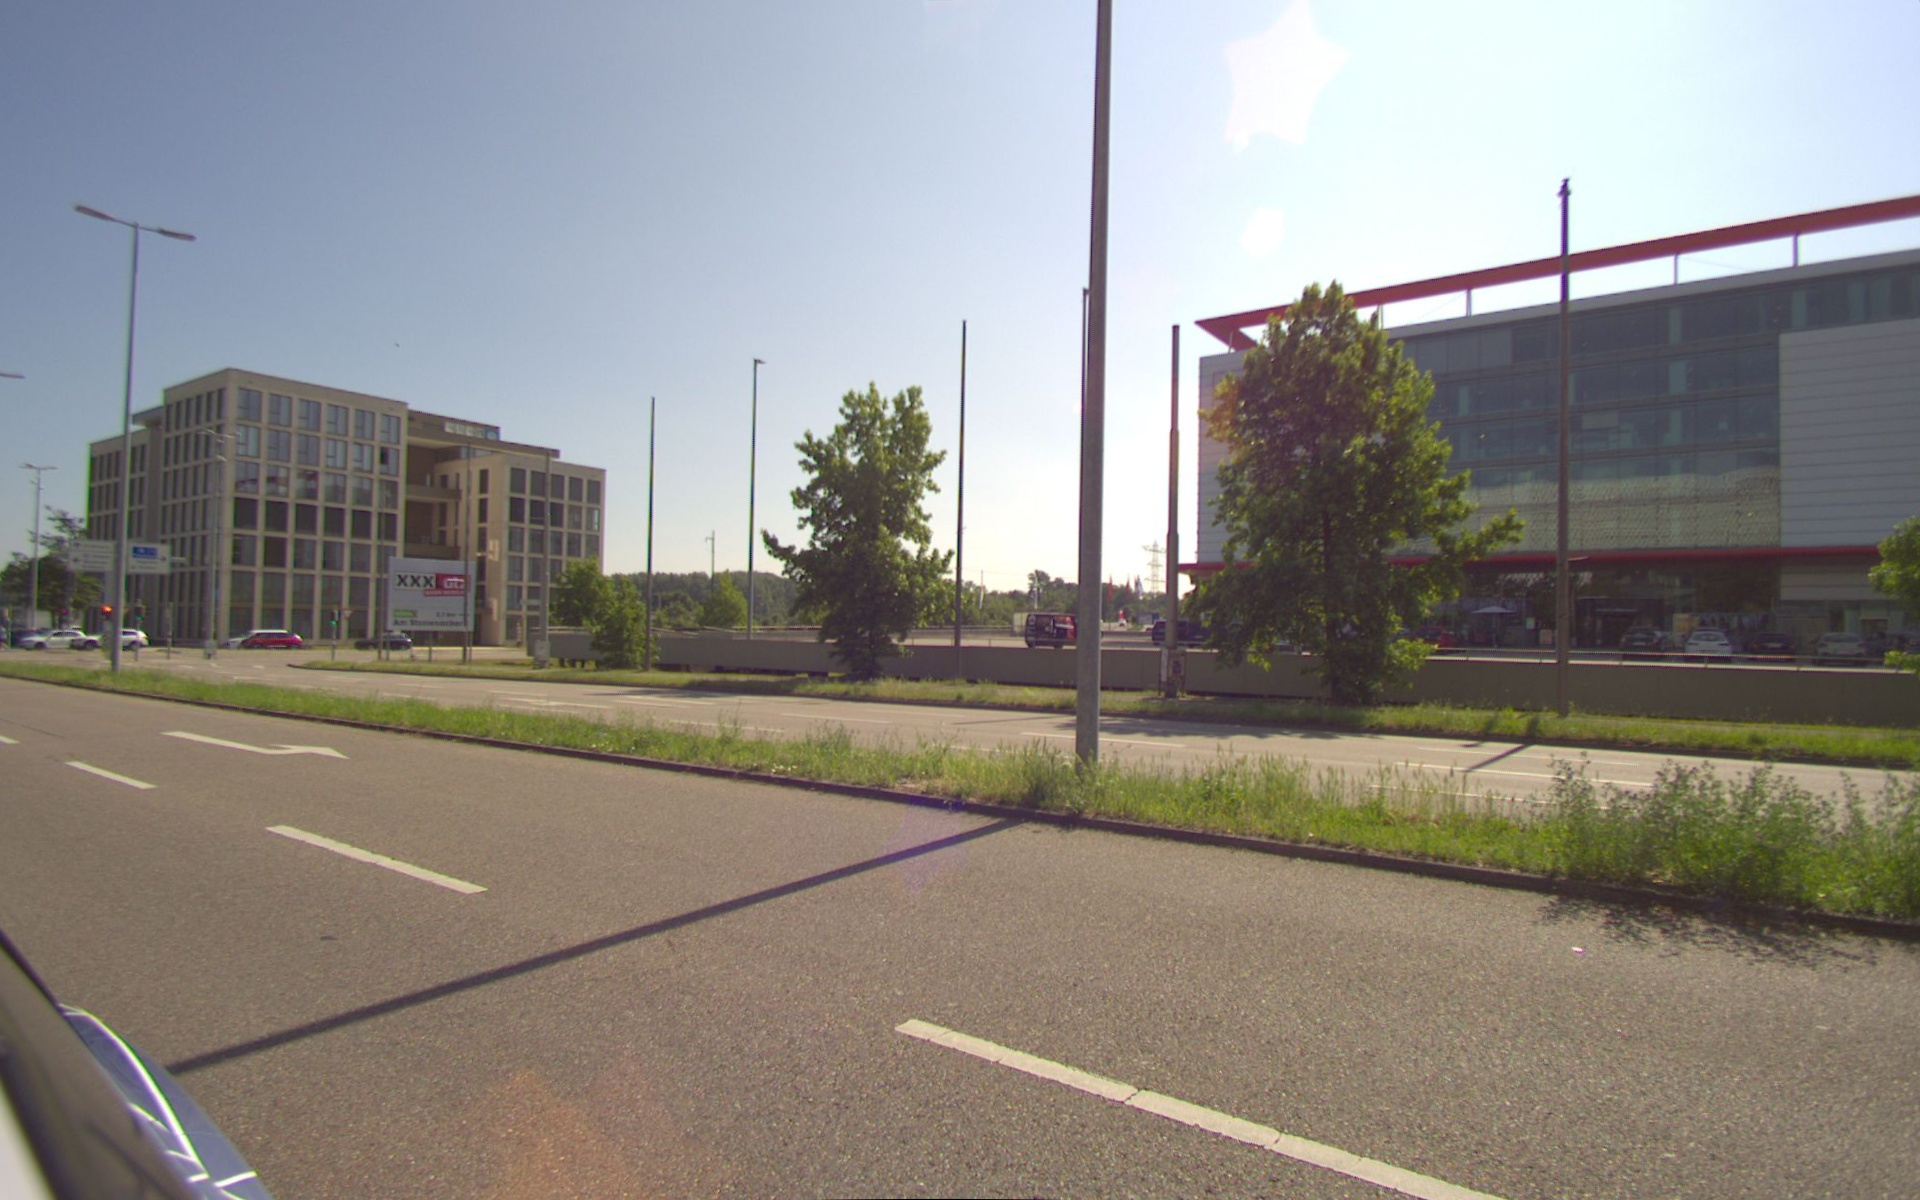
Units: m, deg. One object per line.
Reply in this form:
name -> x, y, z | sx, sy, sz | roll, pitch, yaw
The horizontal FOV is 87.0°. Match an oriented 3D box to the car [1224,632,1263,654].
car -> 18.351, 2.775, 65.430 | 1.512, 1.340, 3.061 | 0, -2, 35

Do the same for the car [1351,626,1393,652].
car -> 22.905, 2.169, 56.164 | 1.512, 1.340, 3.186 | 0, -2, 35

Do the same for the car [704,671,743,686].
car -> -13.347, 4.411, 57.101 | 0.904, 0.739, 2.064 | 0, -2, 33

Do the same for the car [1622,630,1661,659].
car -> 32.875, 2.141, 48.786 | 1.512, 1.340, 3.061 | 0, -2, 35

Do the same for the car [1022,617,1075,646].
car -> 4.849, 1.746, 55.409 | 1.770, 1.568, 2.743 | -2, -4, 35

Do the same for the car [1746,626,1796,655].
car -> 39.485, 1.978, 49.319 | 1.626, 1.340, 3.634 | 0, -2, 35

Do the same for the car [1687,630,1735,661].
car -> 34.824, 2.089, 46.986 | 1.700, 1.340, 3.061 | 0, -2, 35

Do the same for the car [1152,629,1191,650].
car -> 14.310, 2.663, 68.462 | 1.512, 1.340, 2.985 | 0, -2, 35

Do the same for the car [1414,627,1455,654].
car -> 25.562, 2.177, 54.474 | 1.512, 1.340, 3.186 | 0, -2, 35

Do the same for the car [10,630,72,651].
car -> -85.253, 3.774, 93.976 | 3.933, 1.841, 2.005 | 3, -3, -33

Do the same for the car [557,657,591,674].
car -> -25.243, 4.269, 66.148 | 0.887, 0.983, 1.921 | -5, -5, 33

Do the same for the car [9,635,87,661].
car -> -64.841, 3.411, 72.004 | 1.827, 1.725, 3.727 | 0, -2, 30

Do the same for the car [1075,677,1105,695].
car -> 7.873, 5.190, 61.097 | 1.068, 0.983, 1.921 | 0, -2, 33

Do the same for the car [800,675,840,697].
car -> -7.260, 4.450, 52.547 | 1.068, 0.983, 1.921 | 0, -2, 33

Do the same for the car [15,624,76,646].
car -> -87.565, 3.359, 96.967 | 3.933, 2.029, 2.005 | 3, -3, -33

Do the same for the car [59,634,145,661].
car -> -61.520, 3.388, 72.652 | 2.017, 1.852, 4.271 | 0, -2, 28

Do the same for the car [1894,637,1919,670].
car -> 40.374, 2.221, 42.319 | 1.512, 1.340, 3.061 | 0, -2, 35

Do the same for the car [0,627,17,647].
car -> -97.064, 3.679, 101.044 | 3.933, 2.029, 2.005 | 3, -3, -33

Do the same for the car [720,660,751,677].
car -> -14.715, 4.481, 66.348 | 0.885, 0.983, 1.921 | 0, -2, 34

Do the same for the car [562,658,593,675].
car -> -21.688, 3.762, 57.409 | 0.790, 0.889, 1.489 | 0, -2, 33

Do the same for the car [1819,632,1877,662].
car -> 38.527, 2.032, 43.954 | 1.477, 1.208, 3.469 | 0, -2, 35

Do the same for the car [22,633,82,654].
car -> -82.616, 3.968, 92.163 | 3.937, 1.751, 2.003 | 4, -3, -40

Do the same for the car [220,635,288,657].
car -> -58.269, 3.783, 83.592 | 1.899, 1.724, 4.183 | -1, -3, 33

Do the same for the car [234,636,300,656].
car -> -55.625, 3.686, 81.320 | 1.527, 1.539, 4.073 | -1, -3, 33

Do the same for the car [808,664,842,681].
car -> -8.415, 4.532, 63.221 | 1.068, 0.983, 1.921 | 0, -2, 33

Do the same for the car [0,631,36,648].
car -> -94.274, 3.892, 100.067 | 3.933, 1.627, 2.005 | 3, -3, -33

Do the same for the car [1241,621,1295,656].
car -> 10.154, 1.266, 33.277 | 1.068, 1.067, 2.493 | 0, -2, 33

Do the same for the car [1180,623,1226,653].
car -> 14.722, 2.297, 61.234 | 1.688, 1.771, 3.061 | 0, -2, 35

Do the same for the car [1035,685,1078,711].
car -> 4.204, 4.237, 43.964 | 1.068, 0.983, 1.921 | 0, -2, 33

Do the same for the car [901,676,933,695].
car -> -2.499, 4.957, 58.786 | 0.908, 0.983, 1.921 | 0, -2, 33

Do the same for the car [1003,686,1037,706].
car -> 3.284, 5.214, 55.078 | 1.068, 0.983, 1.921 | 0, -2, 33

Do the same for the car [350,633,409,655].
car -> -52.210, 3.982, 91.065 | 1.831, 1.903, 4.191 | 0, -2, 36
